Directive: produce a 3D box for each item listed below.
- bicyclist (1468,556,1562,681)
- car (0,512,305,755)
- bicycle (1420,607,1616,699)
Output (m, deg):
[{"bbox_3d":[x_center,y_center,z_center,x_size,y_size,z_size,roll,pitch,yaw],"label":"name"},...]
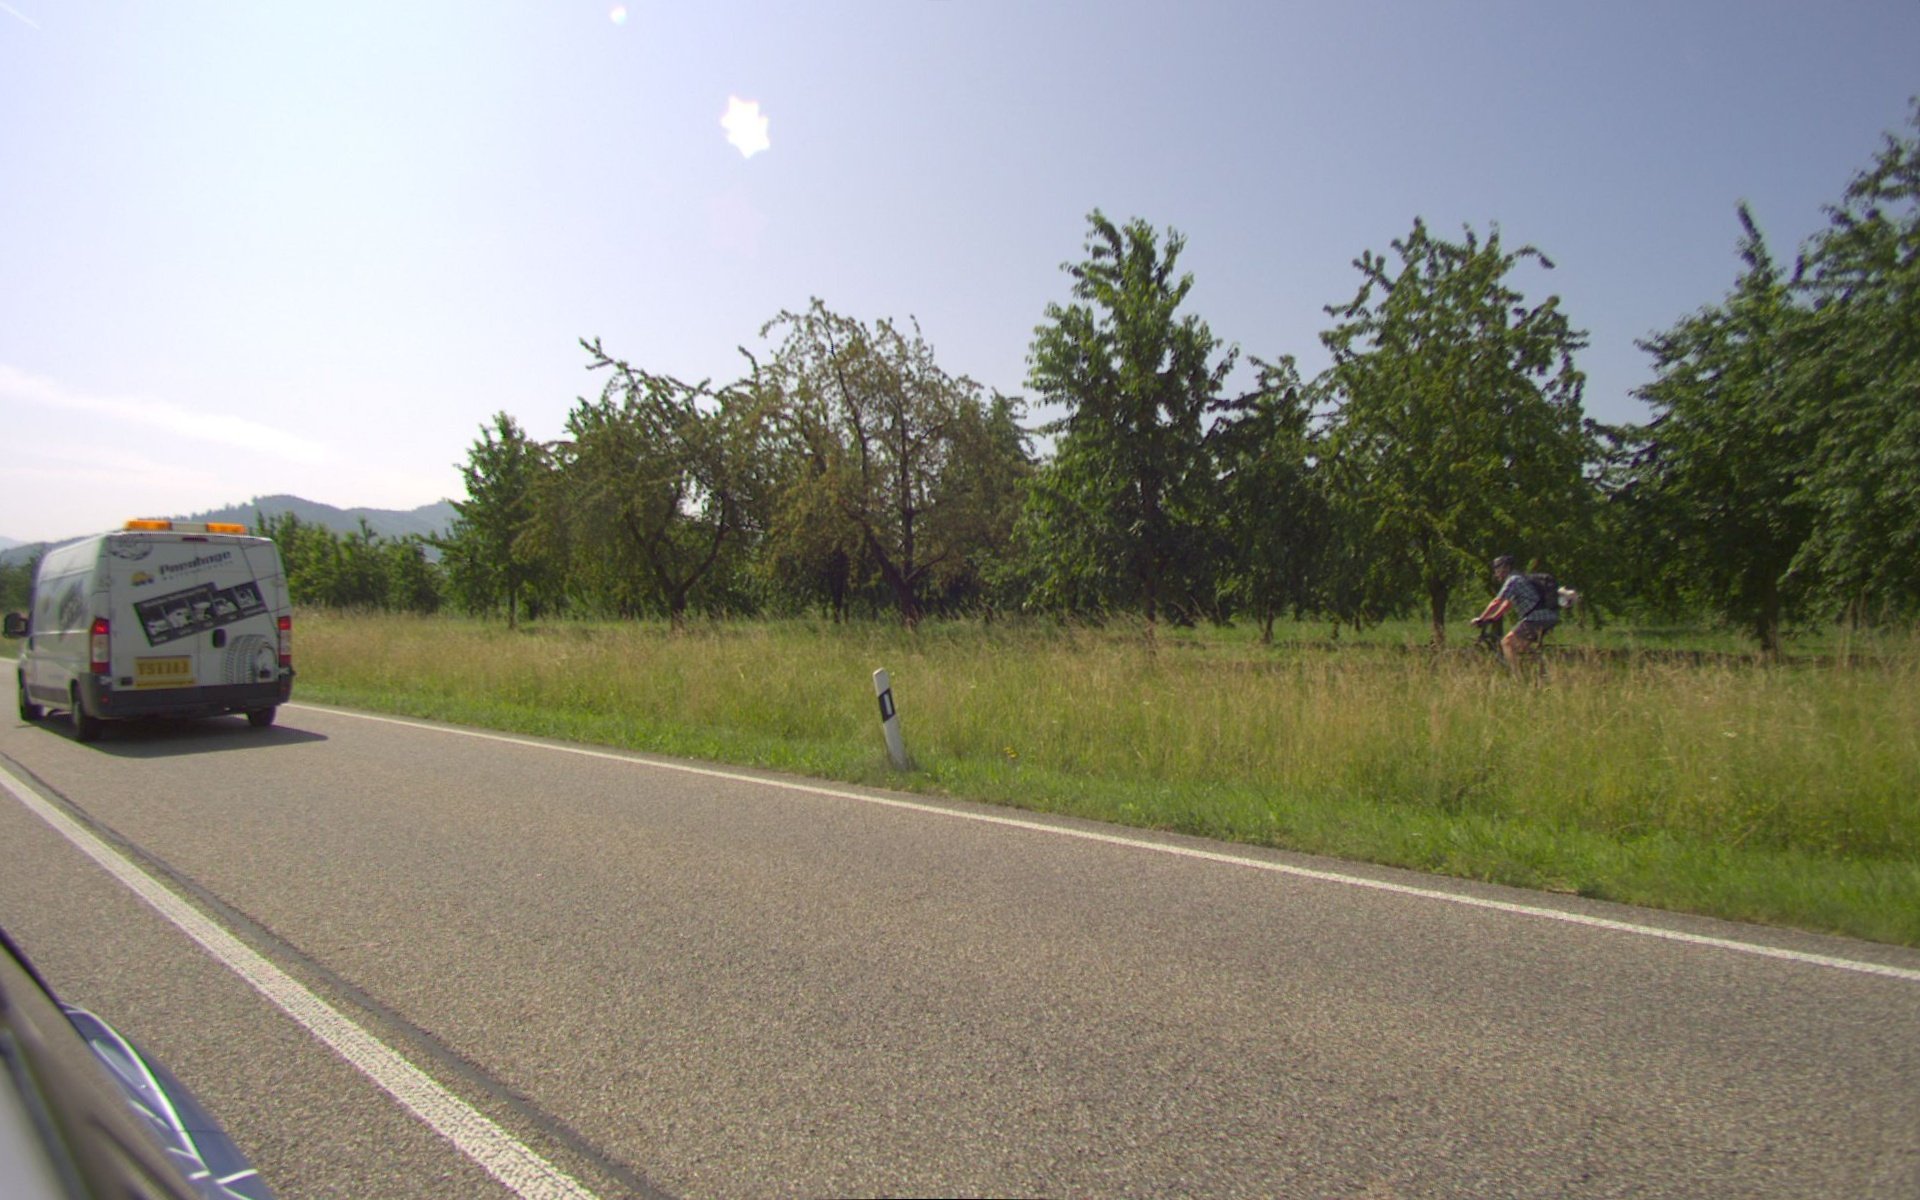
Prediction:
[{"bbox_3d":[6.595,0.209,12.023,0.863,1.425,0.635,0,0,41],"label":"bicyclist"},{"bbox_3d":[-11.371,0.394,14.009,6.138,2.689,2.139,-1,0,40],"label":"car"},{"bbox_3d":[6.594,0.584,12.032,1.955,0.997,0.642,0,0,42],"label":"bicycle"}]
